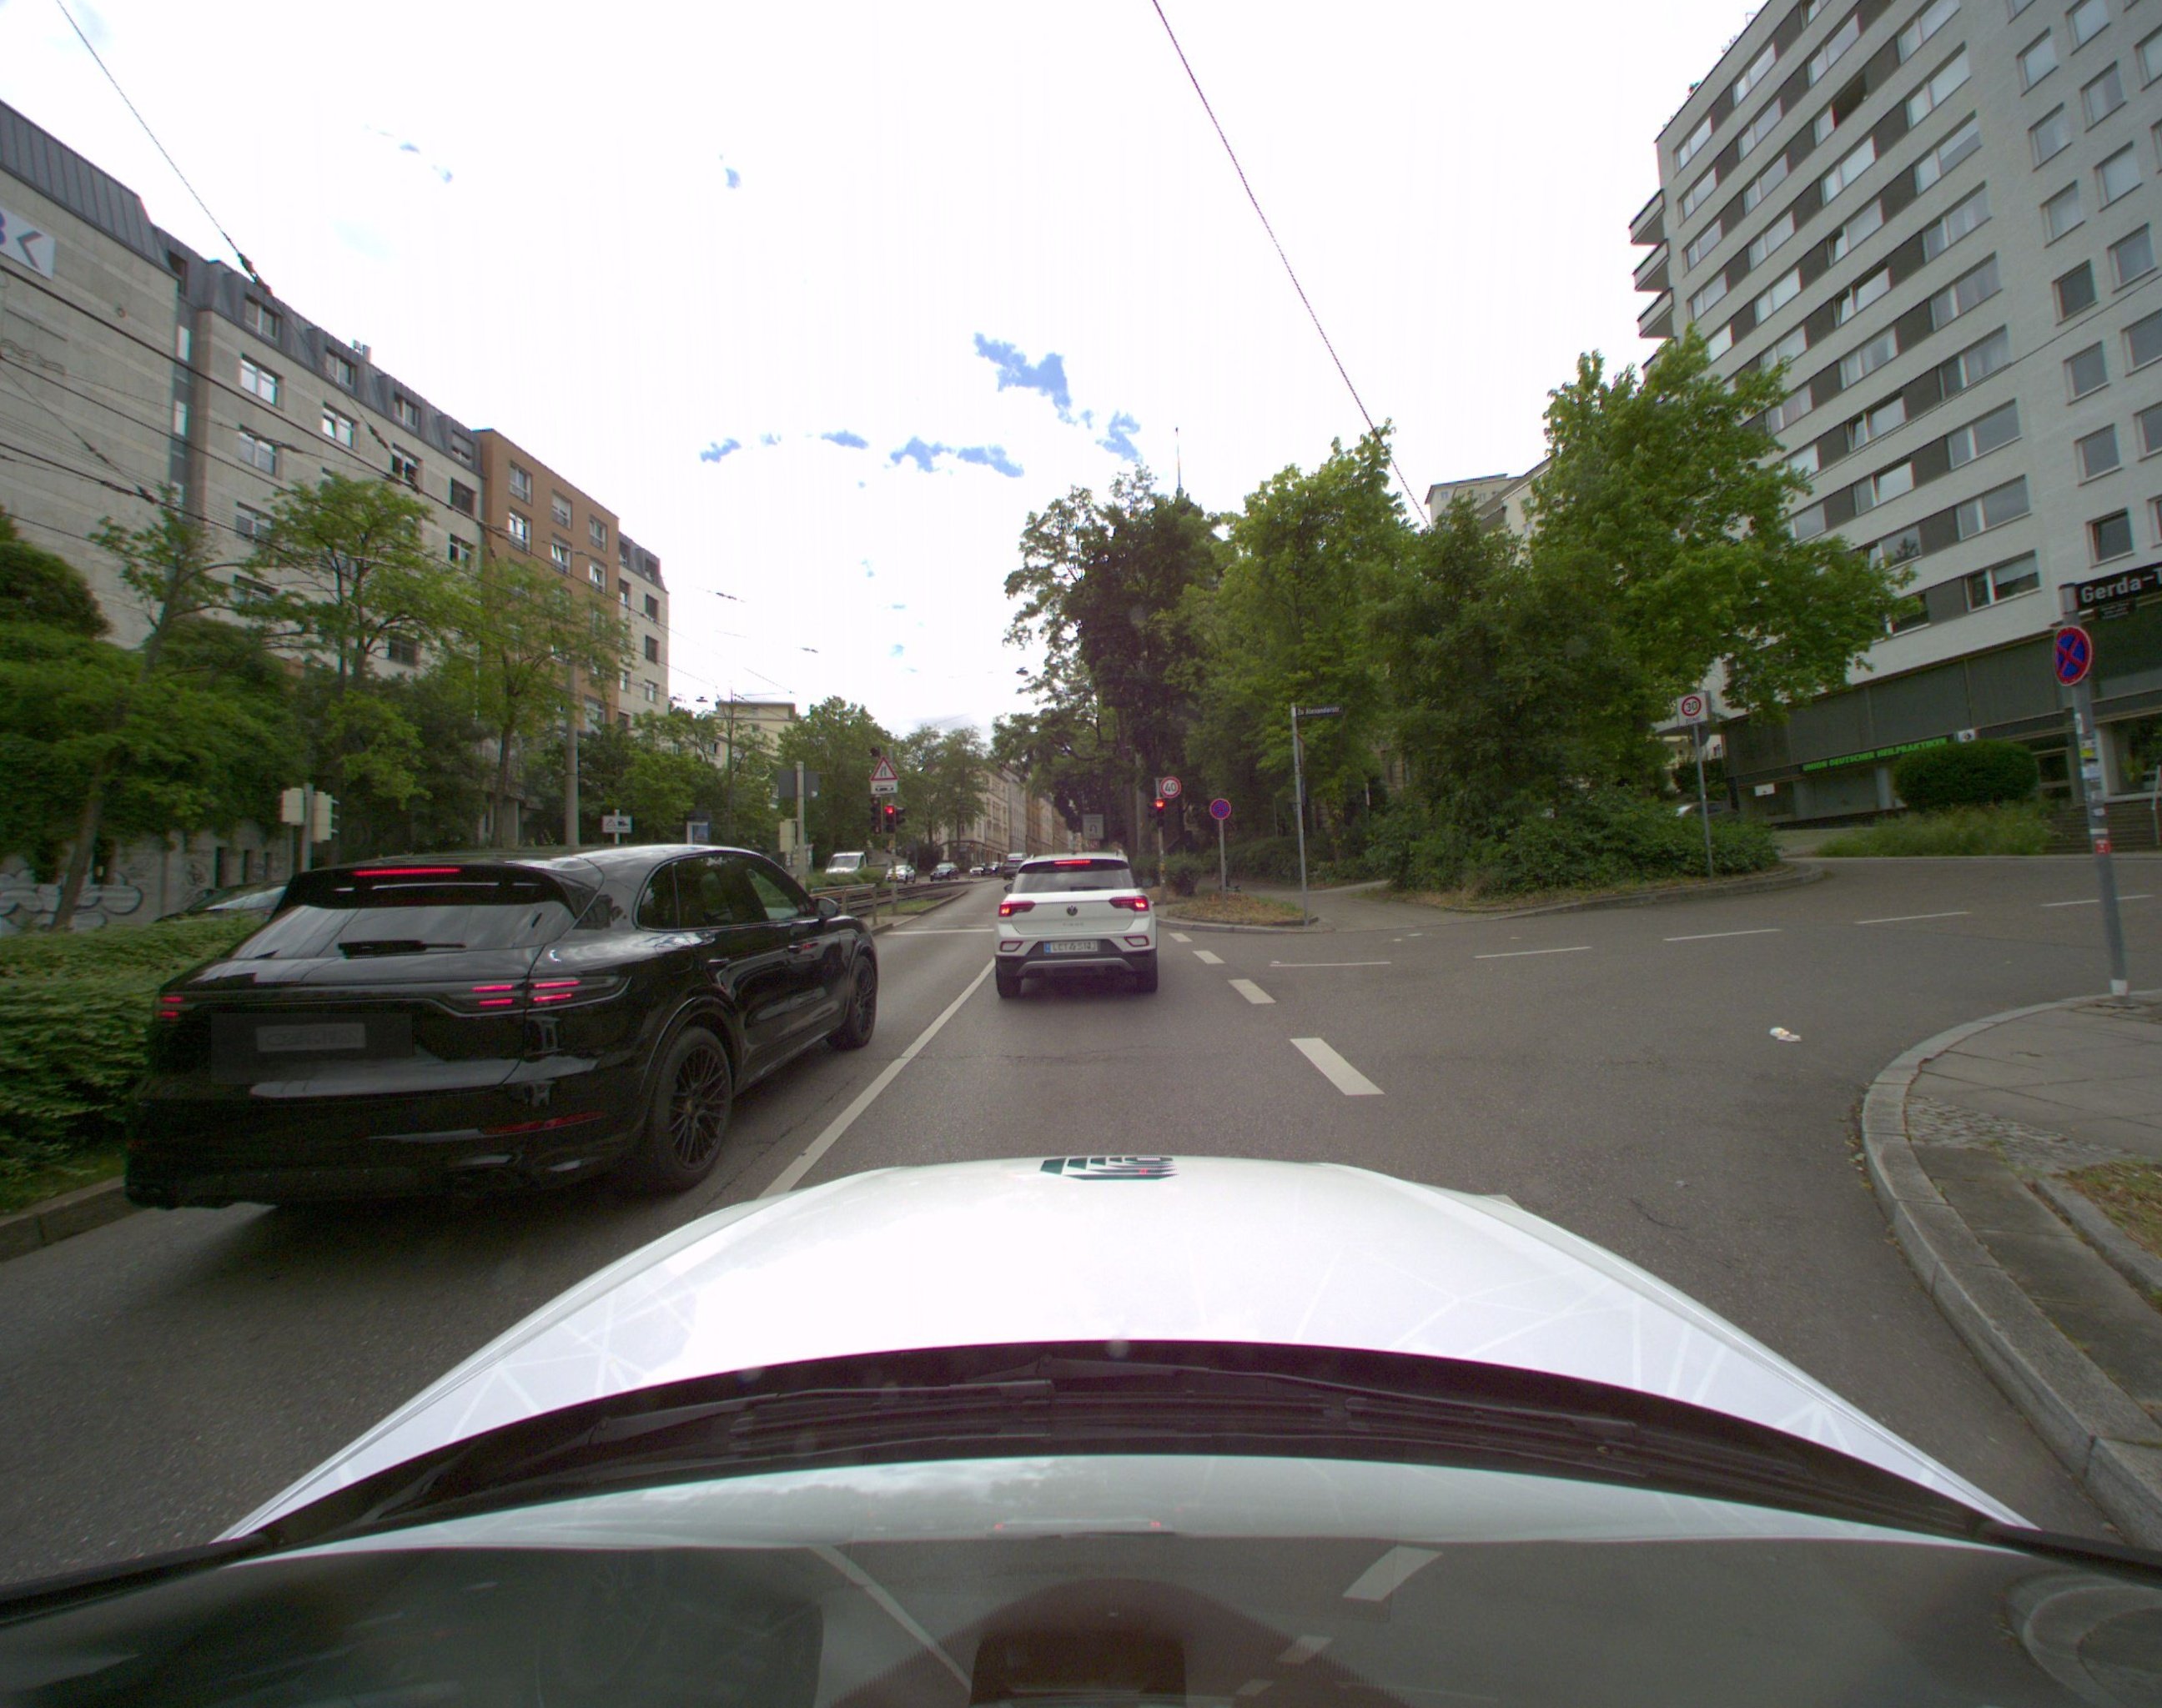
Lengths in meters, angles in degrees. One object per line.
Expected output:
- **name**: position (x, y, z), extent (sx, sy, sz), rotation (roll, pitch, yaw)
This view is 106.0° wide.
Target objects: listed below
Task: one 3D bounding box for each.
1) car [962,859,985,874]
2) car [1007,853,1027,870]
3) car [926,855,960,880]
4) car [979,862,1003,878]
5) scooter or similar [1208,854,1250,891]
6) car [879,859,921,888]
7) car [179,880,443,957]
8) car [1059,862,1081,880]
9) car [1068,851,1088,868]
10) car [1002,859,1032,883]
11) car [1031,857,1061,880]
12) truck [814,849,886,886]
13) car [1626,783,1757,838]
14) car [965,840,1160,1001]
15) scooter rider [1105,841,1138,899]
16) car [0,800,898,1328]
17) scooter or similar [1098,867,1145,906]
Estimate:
- **car**: position (-12.329, 1.450, 93.374), extent (1.986, 1.623, 4.000), rotation (0, -3, 2)
- **car**: position (-8.187, 0.935, 103.970), extent (1.986, 2.013, 4.001), rotation (-3, 0, 1)
- **car**: position (-11.608, 1.149, 68.783), extent (1.986, 2.014, 4.000), rotation (0, -3, 2)
- **car**: position (-9.684, 1.754, 88.151), extent (1.986, 1.623, 4.000), rotation (0, -3, 2)
- **scooter or similar**: position (4.631, 0.576, 25.485), extent (0.477, 1.100, 1.355), rotation (-3, -1, -30)
- **car**: position (-13.254, 1.491, 59.795), extent (1.986, 2.014, 4.001), rotation (0, -3, 2)
- **car**: position (-15.792, 1.259, 17.062), extent (1.736, 1.322, 4.062), rotation (-2, -1, -2)
- **car**: position (-1.058, 1.661, 79.834), extent (1.986, 1.623, 4.000), rotation (0, -3, 2)
- **car**: position (-0.386, 0.789, 116.617), extent (2.412, 2.169, 6.038), rotation (-3, 0, 3)
- **car**: position (-5.012, 1.403, 64.206), extent (1.832, 1.740, 4.002), rotation (-2, -3, 3)
- **car**: position (-2.548, 1.095, 60.012), extent (1.895, 1.574, 3.835), rotation (0, -3, 2)
- **truck**: position (-14.135, 0.864, 50.308), extent (2.411, 2.170, 6.037), rotation (0, -2, 3)
- **car**: position (25.814, -1.819, 34.508), extent (4.124, 2.013, 1.996), rotation (-3, -1, -6)
- **car**: position (-0.090, 0.684, 10.211), extent (1.930, 1.566, 4.049), rotation (-1, -1, 3)
- **scooter rider**: position (1.127, 0.446, 22.515), extent (0.772, 1.558, 0.534), rotation (-3, -1, 11)
- **car**: position (-2.761, 0.768, 5.090), extent (2.020, 1.685, 4.781), rotation (-2, -2, 1)
- **scooter or similar**: position (1.133, 0.905, 22.520), extent (1.179, 0.994, 0.533), rotation (-3, -1, 11)
